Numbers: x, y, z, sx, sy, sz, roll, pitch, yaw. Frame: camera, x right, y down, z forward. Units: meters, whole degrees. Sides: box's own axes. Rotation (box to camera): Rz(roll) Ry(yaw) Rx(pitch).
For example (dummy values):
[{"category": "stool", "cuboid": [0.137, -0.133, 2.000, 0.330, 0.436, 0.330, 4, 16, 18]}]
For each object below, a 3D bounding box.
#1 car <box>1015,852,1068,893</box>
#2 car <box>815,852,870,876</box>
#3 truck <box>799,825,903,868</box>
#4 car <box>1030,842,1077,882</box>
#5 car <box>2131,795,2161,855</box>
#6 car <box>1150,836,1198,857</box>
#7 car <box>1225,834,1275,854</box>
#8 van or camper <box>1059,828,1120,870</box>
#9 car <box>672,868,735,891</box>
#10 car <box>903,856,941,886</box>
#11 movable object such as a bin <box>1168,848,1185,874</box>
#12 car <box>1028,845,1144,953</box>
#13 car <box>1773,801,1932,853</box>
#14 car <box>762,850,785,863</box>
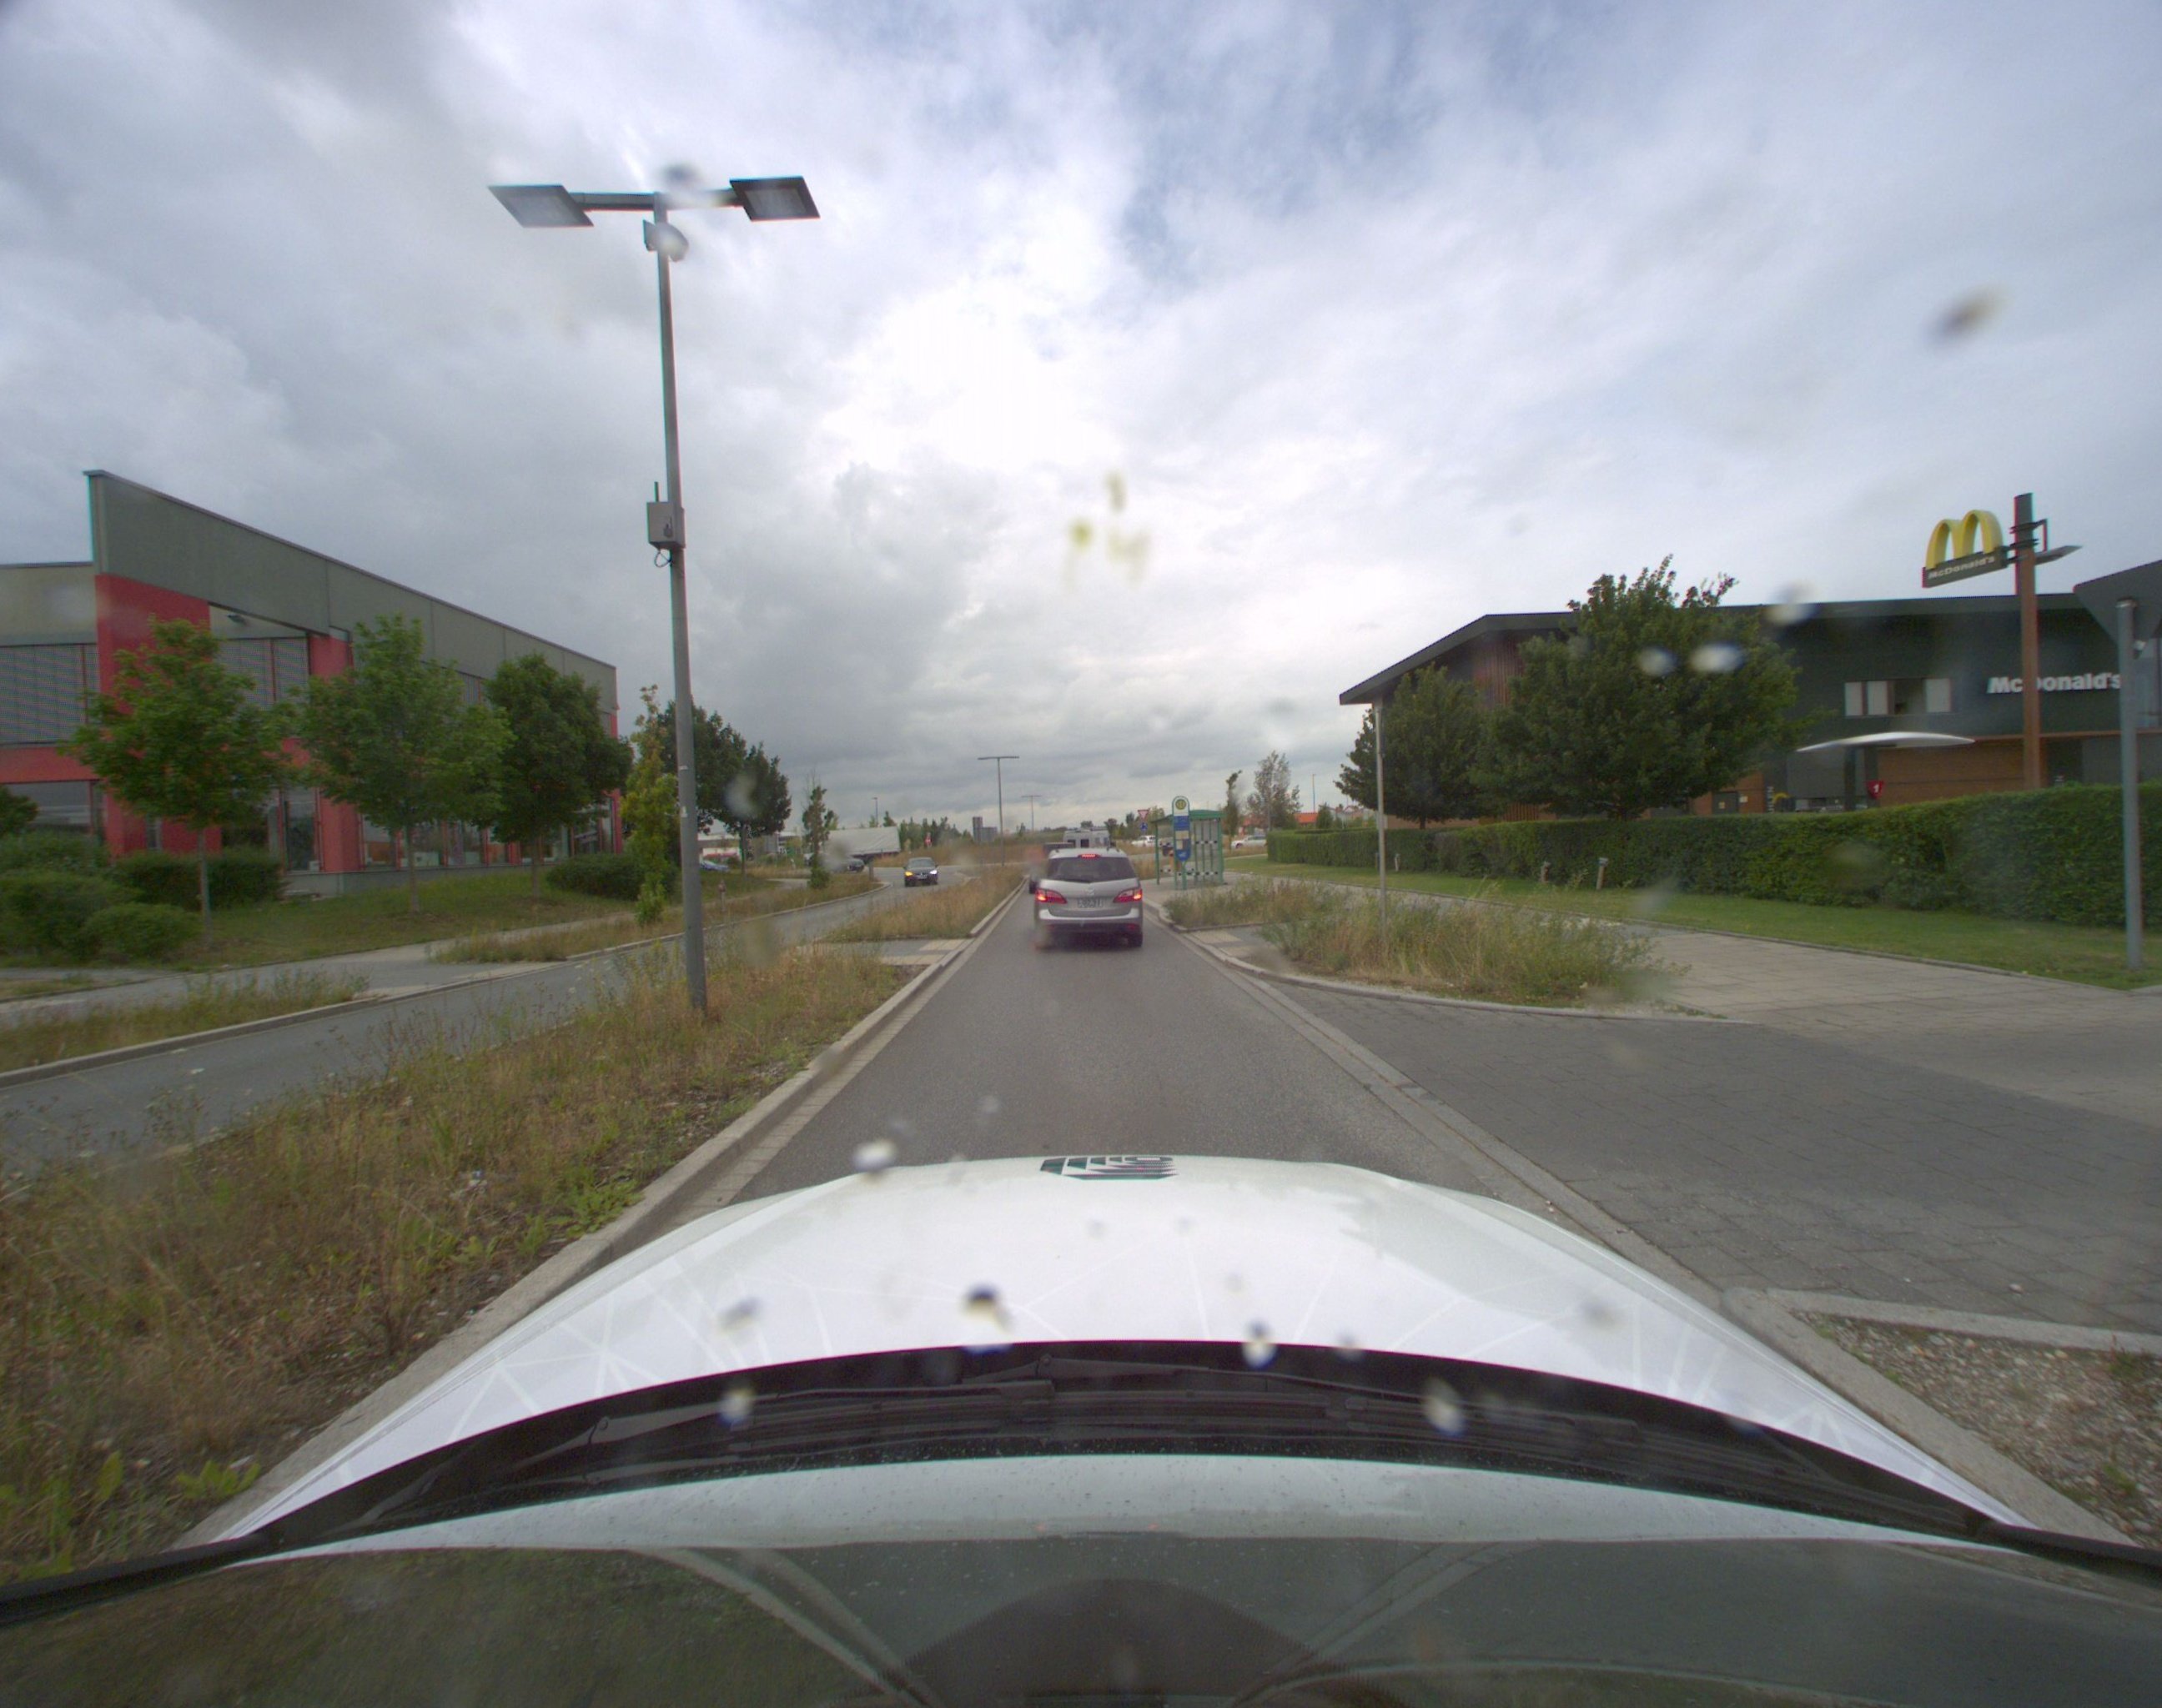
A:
[{"category": "car", "cuboid": [-1.518, 0.680, 32.650, 1.839, 1.418, 4.224, -2, 1, 0]}, {"category": "car", "cuboid": [-17.641, 0.758, 60.191, 4.151, 1.592, 2.078, -2, 1, 45]}, {"category": "truck", "cuboid": [-22.749, -0.749, 80.820, 9.362, 3.906, 3.114, -2, 0, -29]}, {"category": "car", "cuboid": [-1.303, 0.355, 40.918, 2.051, 1.825, 4.786, -2, 0, 1]}, {"category": "car", "cuboid": [31.860, -0.859, 22.778, 2.095, 1.717, 4.257, -1, 1, 39]}, {"category": "car", "cuboid": [7.362, -0.592, 64.254, 1.974, 1.515, 4.026, -2, 0, 35]}, {"category": "car", "cuboid": [16.422, -0.972, 79.334, 4.575, 1.757, 2.005, -2, 0, 8]}, {"category": "van or camper", "cuboid": [0.612, -0.346, 51.824, 2.284, 2.506, 5.232, -2, 0, 19]}, {"category": "car", "cuboid": [-30.467, 2.026, 65.775, 4.185, 1.528, 1.854, -4, 0, 12]}, {"category": "car", "cuboid": [-8.531, 0.878, 43.866, 1.842, 1.407, 3.986, -4, 0, -10]}, {"category": "movable object such as a bin", "cuboid": [3.113, 0.224, 26.502, 0.455, 0.798, 0.379, -2, 0, -3]}, {"category": "car", "cuboid": [0.050, 0.652, 14.151, 1.725, 1.600, 3.805, -1, 1, -1]}, {"category": "car", "cuboid": [28.220, -0.964, 29.882, 3.976, 1.717, 1.999, -2, 0, -2]}, {"category": "car", "cuboid": [-48.336, 0.382, 128.131, 1.988, 1.859, 3.998, -2, 0, -1]}]
